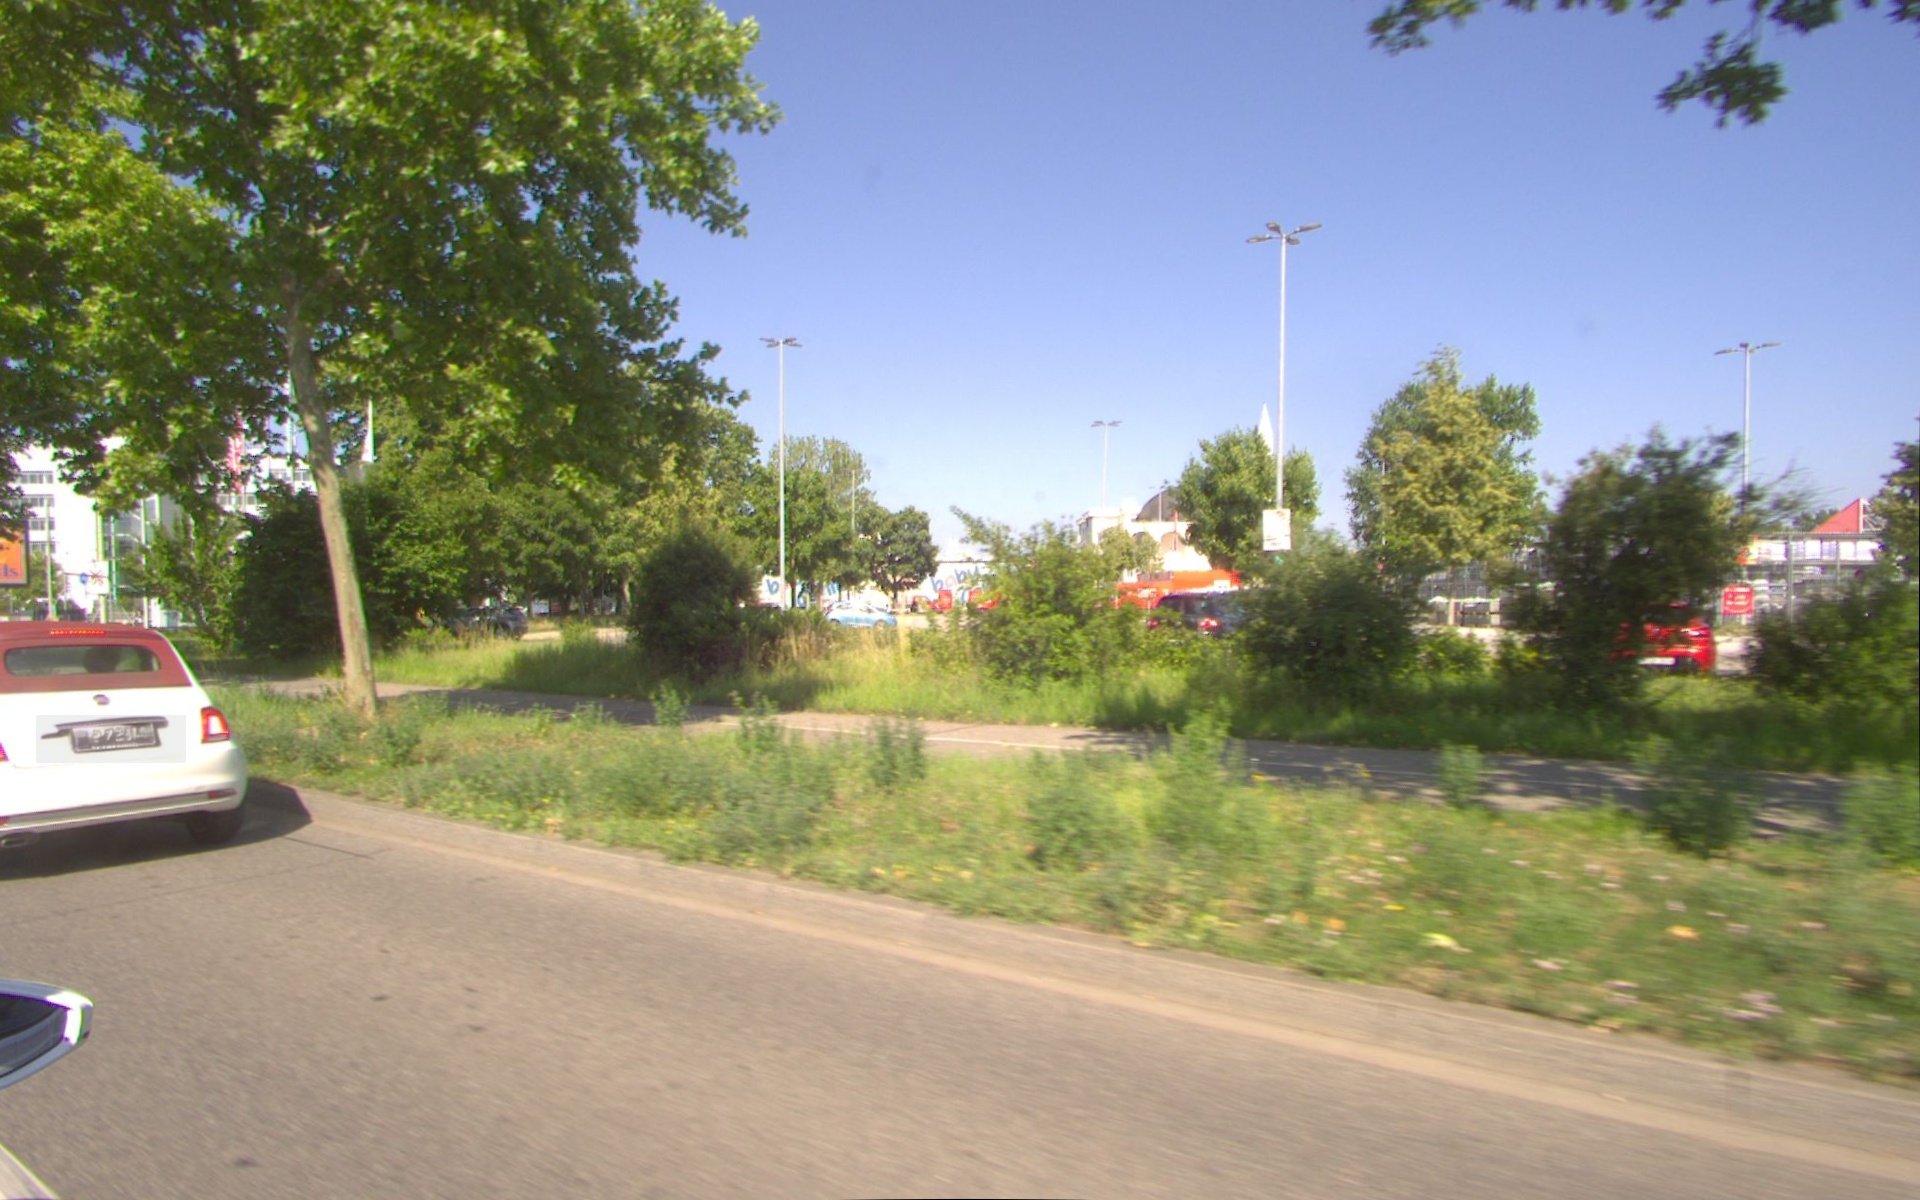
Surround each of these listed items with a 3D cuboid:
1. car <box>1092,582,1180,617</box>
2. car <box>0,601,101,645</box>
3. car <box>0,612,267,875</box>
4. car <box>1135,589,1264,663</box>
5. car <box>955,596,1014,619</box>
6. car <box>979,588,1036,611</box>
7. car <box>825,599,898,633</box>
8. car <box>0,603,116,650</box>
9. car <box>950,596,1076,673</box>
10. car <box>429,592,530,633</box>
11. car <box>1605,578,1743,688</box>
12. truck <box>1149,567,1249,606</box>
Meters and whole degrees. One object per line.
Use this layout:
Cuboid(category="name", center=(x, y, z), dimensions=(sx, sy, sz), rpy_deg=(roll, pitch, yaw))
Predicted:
Cuboid(category="car", center=(12.312, -0.046, 70.273), dimensions=(5.822, 2.371, 2.115), rpy_deg=(0, -1, 1))
Cuboid(category="car", center=(-36.729, 0.902, 39.575), dimensions=(1.701, 1.683, 3.973), rpy_deg=(-1, -1, 37))
Cuboid(category="car", center=(-6.489, 0.832, 6.919), dimensions=(3.471, 1.455, 1.658), rpy_deg=(-1, -1, 34))
Cuboid(category="car", center=(5.401, 0.573, 22.202), dimensions=(1.805, 1.477, 3.984), rpy_deg=(-1, -1, 29))
Cuboid(category="car", center=(2.203, 0.686, 91.771), dimensions=(5.188, 2.038, 2.001), rpy_deg=(0, -3, -5))
Cuboid(category="car", center=(4.066, -0.011, 86.472), dimensions=(4.824, 1.906, 1.770), rpy_deg=(0, -1, 1))
Cuboid(category="car", center=(-4.735, 0.782, 48.377), dimensions=(3.387, 1.591, 1.745), rpy_deg=(0, -1, -2))
Cuboid(category="car", center=(-34.057, 0.992, 37.136), dimensions=(1.701, 1.683, 3.973), rpy_deg=(-1, -1, 37))
Cuboid(category="car", center=(1.361, 0.823, 24.368), dimensions=(1.693, 1.718, 3.544), rpy_deg=(-1, -1, 29))
Cuboid(category="car", center=(-20.855, 0.545, 43.638), dimensions=(3.681, 1.738, 1.766), rpy_deg=(0, -1, -14))
Cuboid(category="car", center=(12.373, 0.560, 17.559), dimensions=(1.663, 1.692, 3.815), rpy_deg=(-1, -1, 31))
Cuboid(category="truck", center=(20.525, -1.163, 86.189), dimensions=(8.068, 3.290, 2.000), rpy_deg=(0, -1, -3))
